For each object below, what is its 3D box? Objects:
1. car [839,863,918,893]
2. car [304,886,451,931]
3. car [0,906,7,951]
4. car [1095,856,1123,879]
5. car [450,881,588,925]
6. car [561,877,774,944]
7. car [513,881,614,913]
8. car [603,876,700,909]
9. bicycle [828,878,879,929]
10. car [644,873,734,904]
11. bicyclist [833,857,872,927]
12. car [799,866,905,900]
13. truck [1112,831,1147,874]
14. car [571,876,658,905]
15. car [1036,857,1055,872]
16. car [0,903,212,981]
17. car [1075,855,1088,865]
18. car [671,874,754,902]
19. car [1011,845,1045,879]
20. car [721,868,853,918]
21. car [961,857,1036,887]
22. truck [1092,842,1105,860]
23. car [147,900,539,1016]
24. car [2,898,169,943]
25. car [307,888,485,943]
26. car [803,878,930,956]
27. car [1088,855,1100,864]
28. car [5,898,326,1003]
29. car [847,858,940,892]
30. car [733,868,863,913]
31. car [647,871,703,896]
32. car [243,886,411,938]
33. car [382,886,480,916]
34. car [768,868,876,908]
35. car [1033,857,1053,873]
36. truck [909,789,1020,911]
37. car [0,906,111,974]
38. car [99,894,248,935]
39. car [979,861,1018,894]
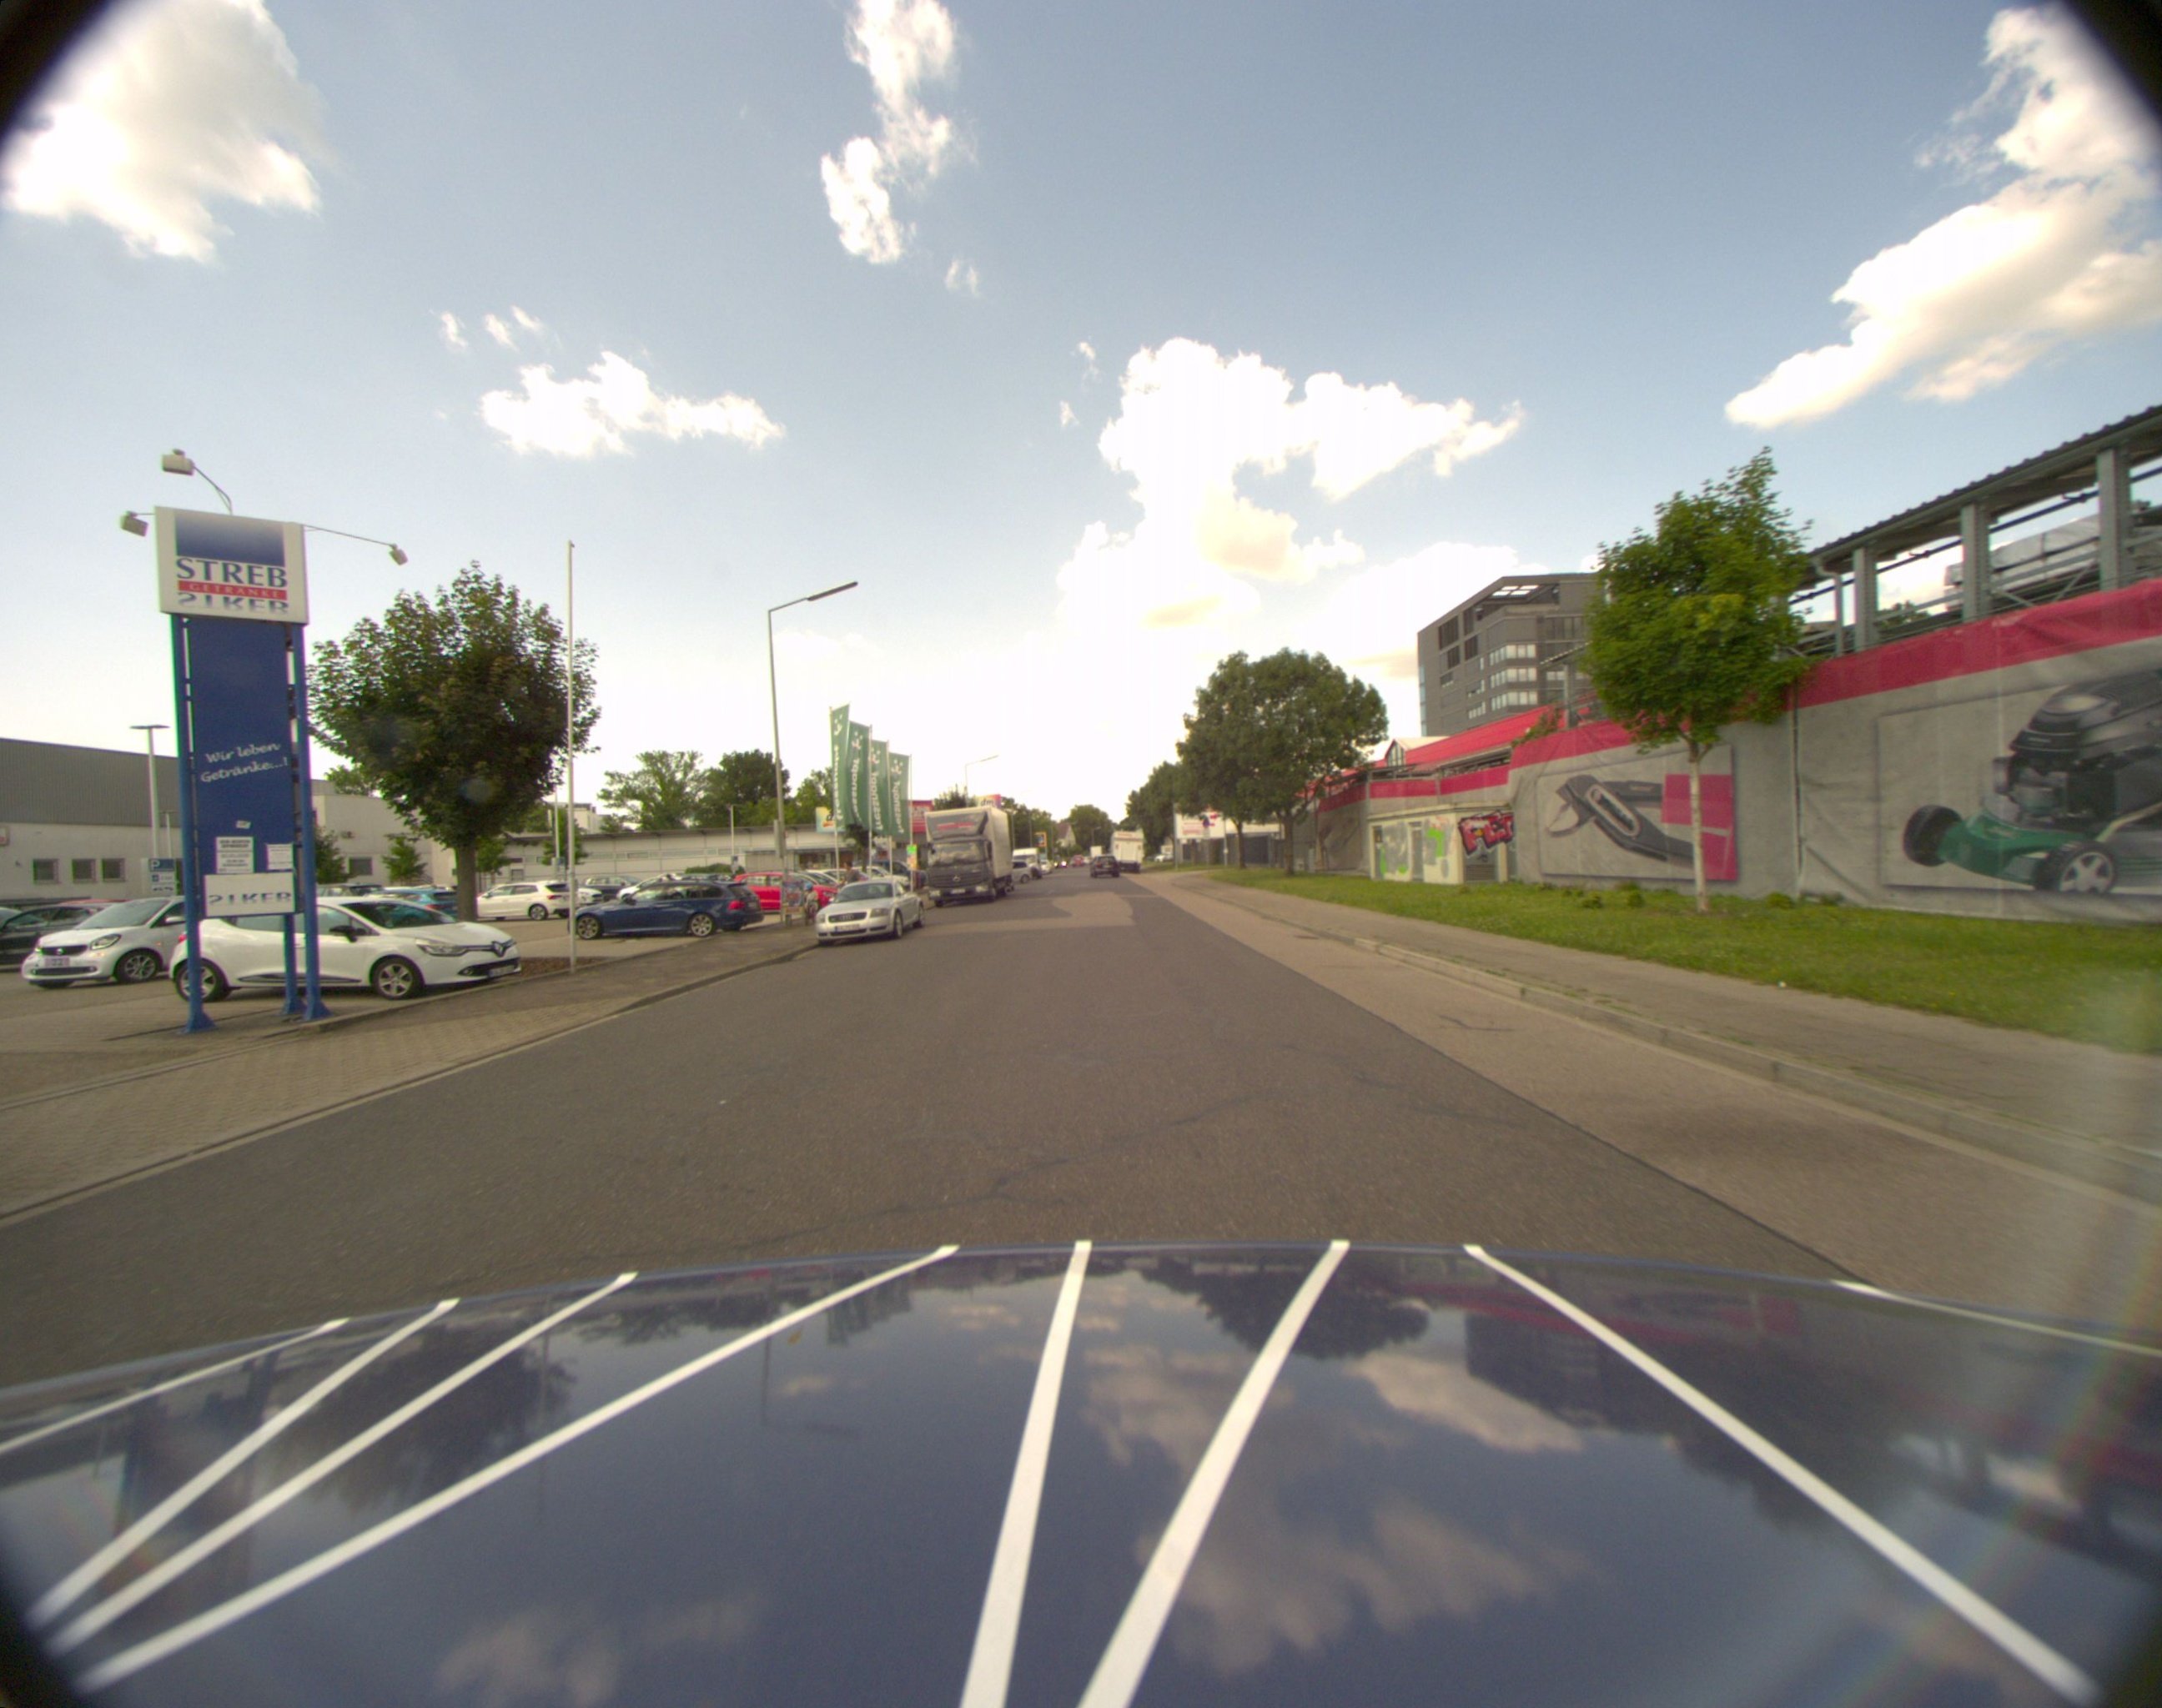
[{"bbox_3d":[-11.035,1.310,41.587,3.820,1.490,1.654,-2,0,2],"label":"car"},{"bbox_3d":[-27.023,2.072,29.288,3.946,1.475,1.724,-2,0,-2],"label":"car"},{"bbox_3d":[-37.902,2.538,24.496,3.932,1.475,1.724,-2,0,-2],"label":"car"},{"bbox_3d":[1.984,0.967,55.420,1.878,1.610,4.294,1,0,1],"label":"car"},{"bbox_3d":[-21.577,1.856,29.262,3.946,1.475,1.724,-2,0,-2],"label":"car"},{"bbox_3d":[-10.288,1.390,19.153,4.319,1.435,1.846,-2,0,-1],"label":"car"},{"bbox_3d":[-26.609,2.193,39.168,3.946,1.475,1.724,-2,0,-2],"label":"car"},{"bbox_3d":[-21.969,1.946,38.968,3.946,1.475,1.724,-2,0,-2],"label":"car"},{"bbox_3d":[-6.366,1.356,21.378,0.794,1.287,1.883,1,1,3],"label":"bicycle"},{"bbox_3d":[-21.202,1.841,41.226,3.946,1.475,1.724,-2,0,-2],"label":"car"},{"bbox_3d":[-6.371,1.054,21.213,0.796,1.899,0.829,1,1,3],"label":"bicyclist"},{"bbox_3d":[-10.989,1.376,36.602,4.493,1.429,1.858,-2,0,0],"label":"car"},{"bbox_3d":[4.403,-0.154,70.708,2.754,3.701,7.171,-1,1,0],"label":"truck"},{"bbox_3d":[-27.118,2.094,44.235,3.946,1.475,1.724,-2,0,-2],"label":"car"},{"bbox_3d":[-3.834,1.119,81.985,1.698,1.447,3.705,-5,0,0],"label":"car"},{"bbox_3d":[-22.396,1.939,16.893,4.005,1.475,1.724,-2,0,-2],"label":"car"},{"bbox_3d":[0.077,0.881,118.629,1.856,1.467,4.000,-3,0,0],"label":"car"},{"bbox_3d":[-21.386,1.956,44.195,3.946,1.475,1.724,-2,0,-2],"label":"car"},{"bbox_3d":[-4.125,0.617,59.962,2.057,2.395,5.454,-5,0,0],"label":"car"},{"bbox_3d":[-10.182,1.327,26.521,3.895,1.513,1.748,-2,0,-4],"label":"car"},{"bbox_3d":[-5.416,1.167,50.254,4.600,1.674,1.741,-4,0,-38],"label":"car"},{"bbox_3d":[4.381,-0.695,190.640,2.979,4.131,9.667,-3,0,0],"label":"truck"},{"bbox_3d":[-10.732,1.473,11.308,3.963,1.402,1.796,-1,0,-2],"label":"car"},{"bbox_3d":[-38.363,2.534,29.359,4.041,1.475,1.724,-2,0,-2],"label":"car"},{"bbox_3d":[-21.694,1.926,24.185,3.992,1.475,1.740,-2,0,-2],"label":"car"},{"bbox_3d":[-4.832,1.362,17.703,1.665,1.332,3.985,-6,0,0],"label":"car"},{"bbox_3d":[2.199,0.953,132.412,1.982,1.467,4.000,-3,0,0],"label":"car"},{"bbox_3d":[-17.558,1.755,14.911,1.723,1.510,3.752,-3,0,-2],"label":"car"},{"bbox_3d":[-10.846,1.183,44.232,4.905,1.777,1.903,-2,0,0],"label":"car"},{"bbox_3d":[-10.785,1.367,29.197,4.298,1.533,1.748,-2,0,-4],"label":"car"},{"bbox_3d":[-26.926,1.951,50.438,2.717,1.534,1.646,-3,0,-1],"label":"car"},{"bbox_3d":[-26.388,2.015,26.700,4.068,1.568,1.740,-2,0,-2],"label":"car"},{"bbox_3d":[-36.949,2.643,43.262,4.043,1.475,1.724,-2,0,-2],"label":"car"},{"bbox_3d":[-10.676,1.386,31.562,3.895,1.424,1.748,-2,0,-4],"label":"car"},{"bbox_3d":[-3.847,1.103,77.567,1.698,1.447,3.550,-5,0,0],"label":"car"},{"bbox_3d":[-4.493,-0.133,31.193,2.785,4.092,8.279,-5,0,1],"label":"truck"},{"bbox_3d":[-27.237,2.155,18.831,4.020,1.475,1.724,-2,0,-2],"label":"car"},{"bbox_3d":[-38.078,2.505,31.955,4.034,1.475,1.724,-2,0,-2],"label":"car"},{"bbox_3d":[-4.208,1.186,39.319,1.549,1.502,3.626,-5,0,-1],"label":"car"}]
